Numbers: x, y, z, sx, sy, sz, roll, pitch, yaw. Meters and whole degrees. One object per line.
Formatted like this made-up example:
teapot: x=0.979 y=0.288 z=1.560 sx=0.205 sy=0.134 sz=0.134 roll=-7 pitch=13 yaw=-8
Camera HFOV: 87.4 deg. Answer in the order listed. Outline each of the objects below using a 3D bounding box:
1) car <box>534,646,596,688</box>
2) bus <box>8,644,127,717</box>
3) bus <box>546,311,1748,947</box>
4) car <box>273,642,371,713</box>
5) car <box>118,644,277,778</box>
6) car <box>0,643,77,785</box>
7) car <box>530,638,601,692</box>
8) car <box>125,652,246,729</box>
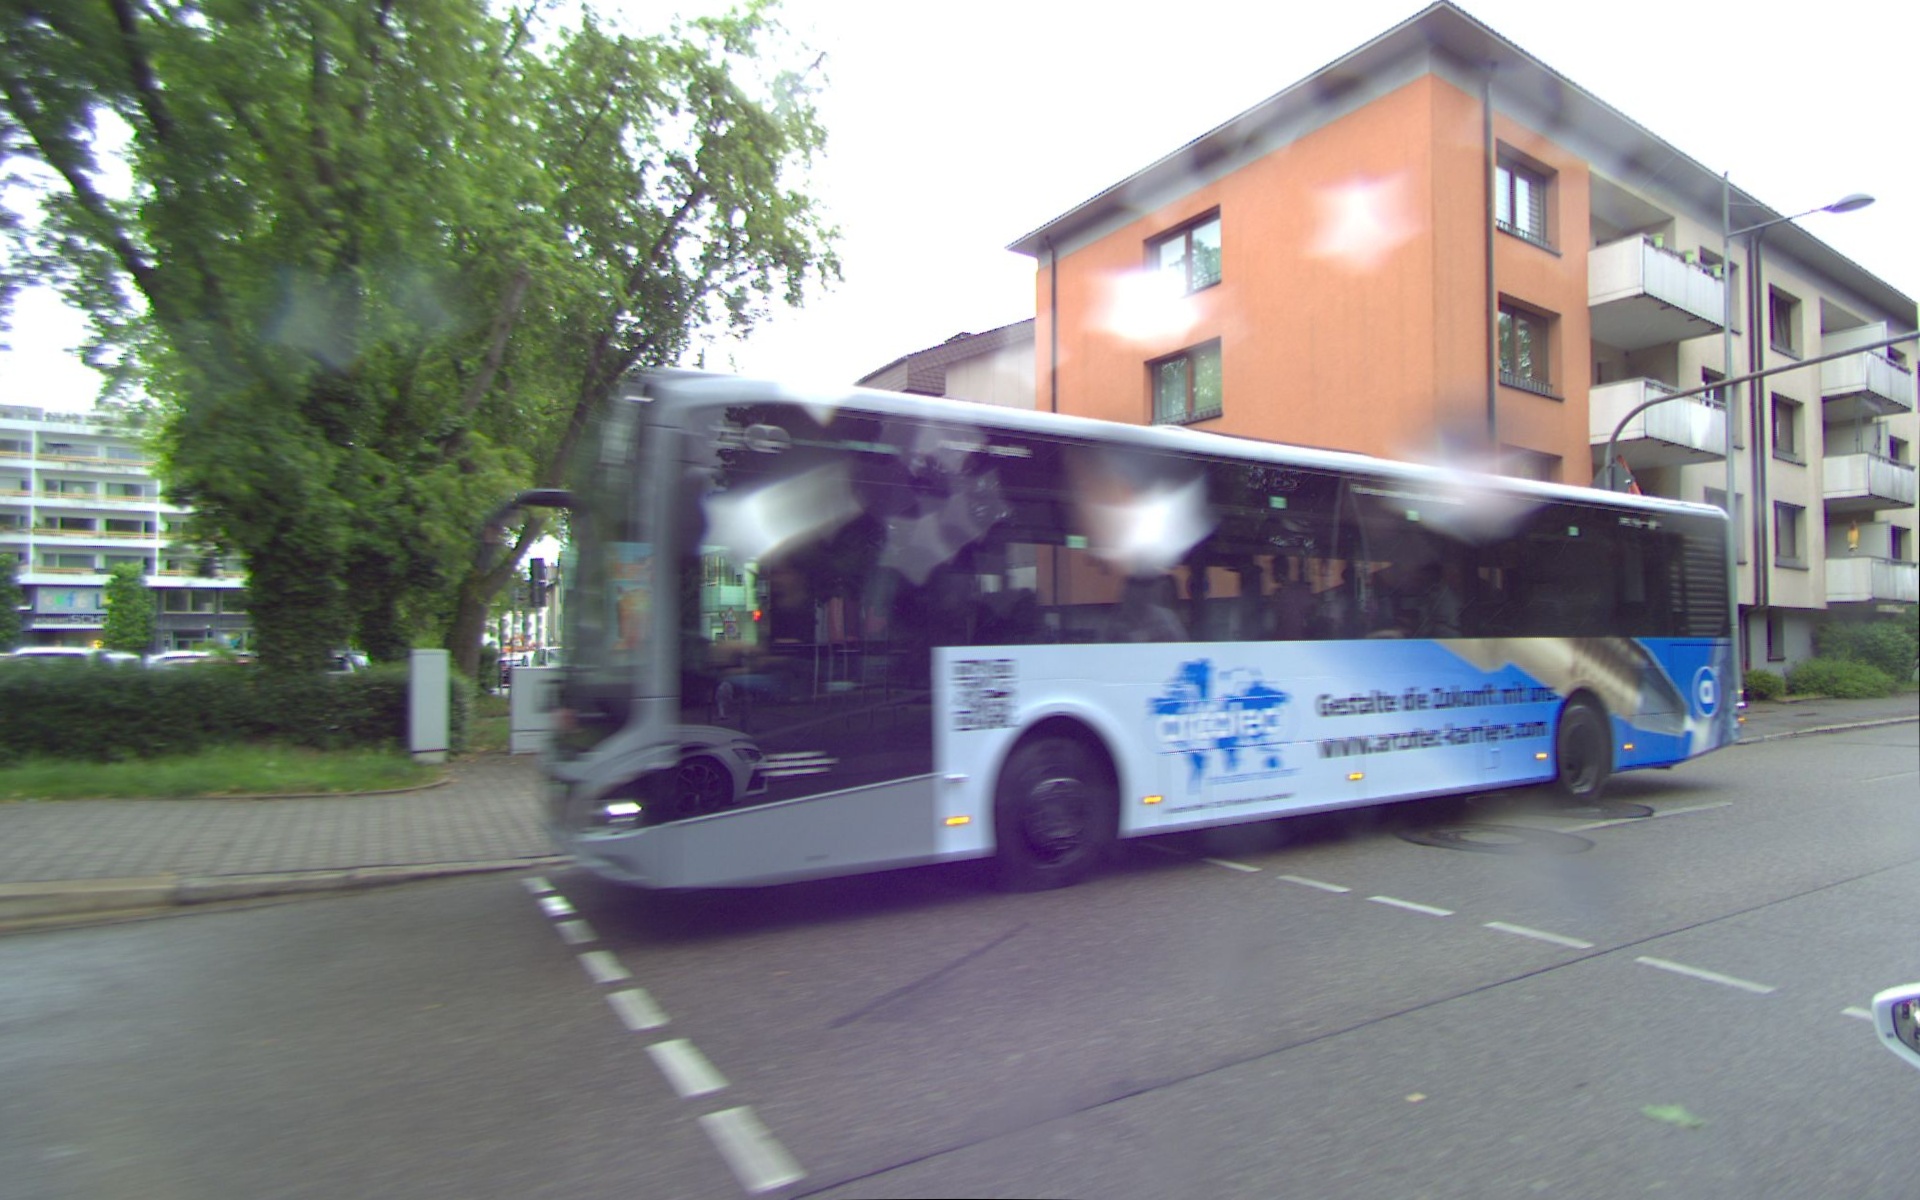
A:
car: x=-16.483 y=2.783 z=41.799 sx=1.898 sy=1.649 sz=3.899 roll=2 pitch=-4 yaw=-29
bus: x=-19.131 y=1.688 z=21.637 sx=1.365 sy=1.451 sz=2.776 roll=2 pitch=-3 yaw=-31
bus: x=2.758 y=0.336 z=8.965 sx=11.646 sy=3.013 sz=2.753 roll=2 pitch=-3 yaw=-31
car: x=-15.248 y=1.795 z=24.000 sx=1.799 sy=1.535 sz=3.964 roll=2 pitch=-3 yaw=-33
car: x=-10.745 y=1.479 z=14.343 sx=1.492 sy=1.544 sz=3.173 roll=2 pitch=-1 yaw=-32
car: x=-12.756 y=1.396 z=12.978 sx=1.492 sy=1.544 sz=3.173 roll=2 pitch=-1 yaw=-32
car: x=-13.363 y=2.196 z=33.941 sx=1.726 sy=1.718 sz=3.899 roll=2 pitch=-4 yaw=-29
car: x=-17.234 y=1.947 z=22.515 sx=1.799 sy=1.535 sz=3.964 roll=2 pitch=-3 yaw=-33
